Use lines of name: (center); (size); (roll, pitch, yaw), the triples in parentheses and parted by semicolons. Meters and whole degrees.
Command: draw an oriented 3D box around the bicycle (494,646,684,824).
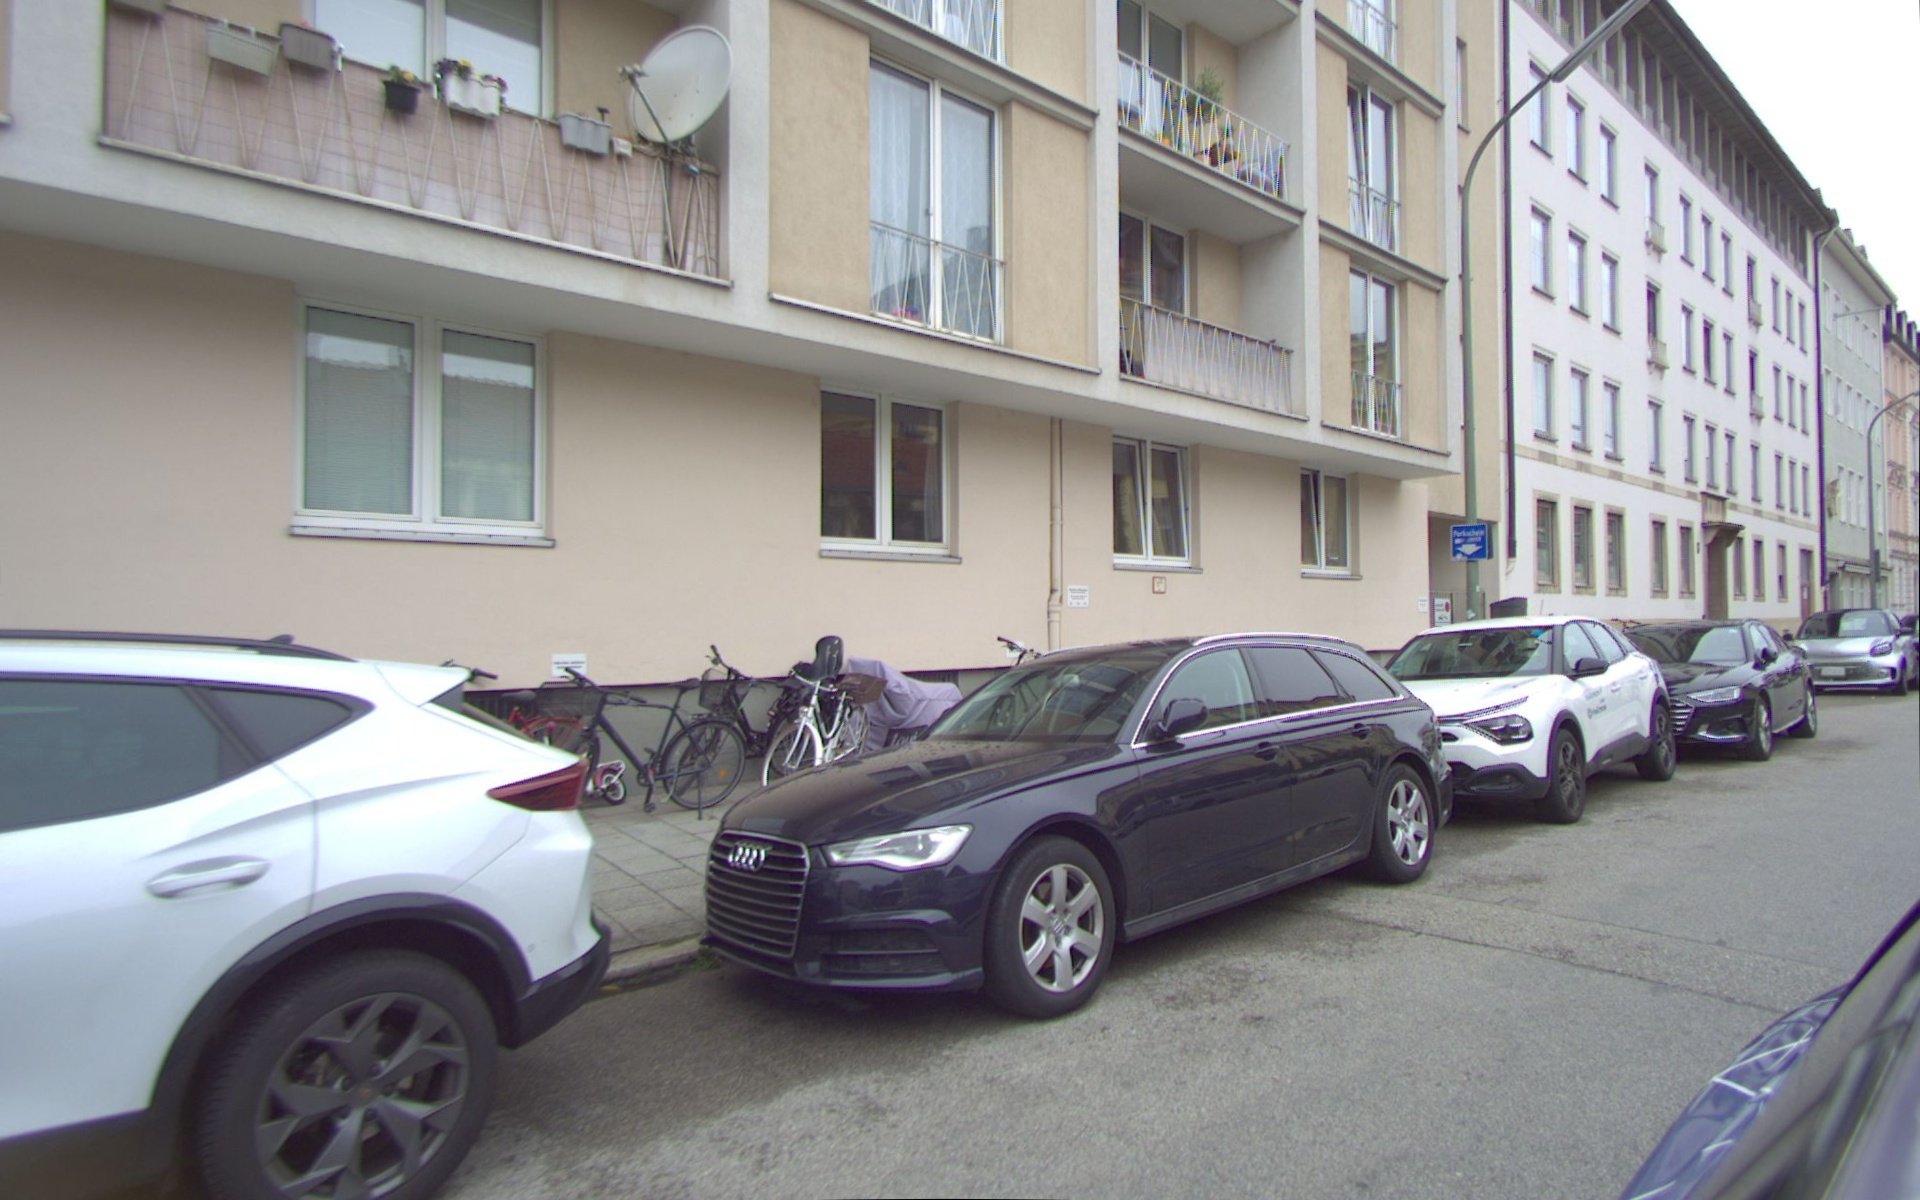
bicycle: (-2.861, 0.999, 7.849); (1.316, 1.216, 0.394); (0, 2, -35)

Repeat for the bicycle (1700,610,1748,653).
bicycle: (20.234, 0.819, 26.780); (2.004, 1.093, 0.599); (1, 1, -41)

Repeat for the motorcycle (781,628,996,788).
motorcycle: (-0.616, 0.927, 9.364); (2.005, 1.287, 0.636); (0, 0, -41)

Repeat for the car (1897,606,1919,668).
car: (24.569, 0.878, 24.786); (4.618, 1.466, 1.875); (1, -3, -42)

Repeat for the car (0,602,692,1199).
car: (-2.958, 0.834, 2.304); (1.775, 1.543, 4.235); (-6, -6, 44)

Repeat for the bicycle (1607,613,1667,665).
bicycle: (15.205, 0.857, 22.711); (1.805, 1.105, 0.631); (1, 1, -41)

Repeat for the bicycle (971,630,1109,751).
bicycle: (0.879, 0.926, 10.831); (1.573, 1.171, 0.514); (0, 0, -41)

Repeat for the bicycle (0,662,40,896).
bicycle: (-5.777, 0.981, 5.294); (1.367, 1.216, 0.448); (0, 2, -34)

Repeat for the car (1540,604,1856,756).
car: (8.484, 0.814, 11.490); (4.410, 1.400, 1.830); (1, -4, -40)

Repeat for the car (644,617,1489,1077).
car: (0.885, 0.894, 5.464); (4.609, 1.448, 1.774); (0, -5, -40)

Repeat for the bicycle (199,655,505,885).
bicycle: (-3.592, 0.967, 6.098); (1.534, 1.216, 0.399); (1, 2, -25)

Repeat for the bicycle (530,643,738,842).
bicycle: (-2.309, 0.963, 7.260); (1.347, 1.216, 0.447); (-1, 3, -43)

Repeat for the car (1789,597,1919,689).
car: (16.834, 0.793, 18.692); (3.319, 1.537, 1.617); (1, -5, -39)

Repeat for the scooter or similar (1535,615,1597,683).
scooter or similar: (11.939, 0.950, 19.923); (1.076, 1.291, 0.730); (1, -1, -40)

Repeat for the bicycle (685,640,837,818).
bicycle: (-1.618, 0.988, 8.114); (1.334, 1.216, 0.389); (3, 3, 37)

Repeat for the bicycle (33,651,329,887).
bicycle: (-4.626, 0.956, 6.106); (1.367, 1.216, 0.448); (0, 2, -34)

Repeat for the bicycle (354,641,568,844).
bicycle: (-3.404, 0.924, 6.942); (1.261, 1.216, 0.418); (0, 2, -36)

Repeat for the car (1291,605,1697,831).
car: (4.715, 0.851, 8.679); (4.049, 1.488, 1.703); (0, -5, -42)
